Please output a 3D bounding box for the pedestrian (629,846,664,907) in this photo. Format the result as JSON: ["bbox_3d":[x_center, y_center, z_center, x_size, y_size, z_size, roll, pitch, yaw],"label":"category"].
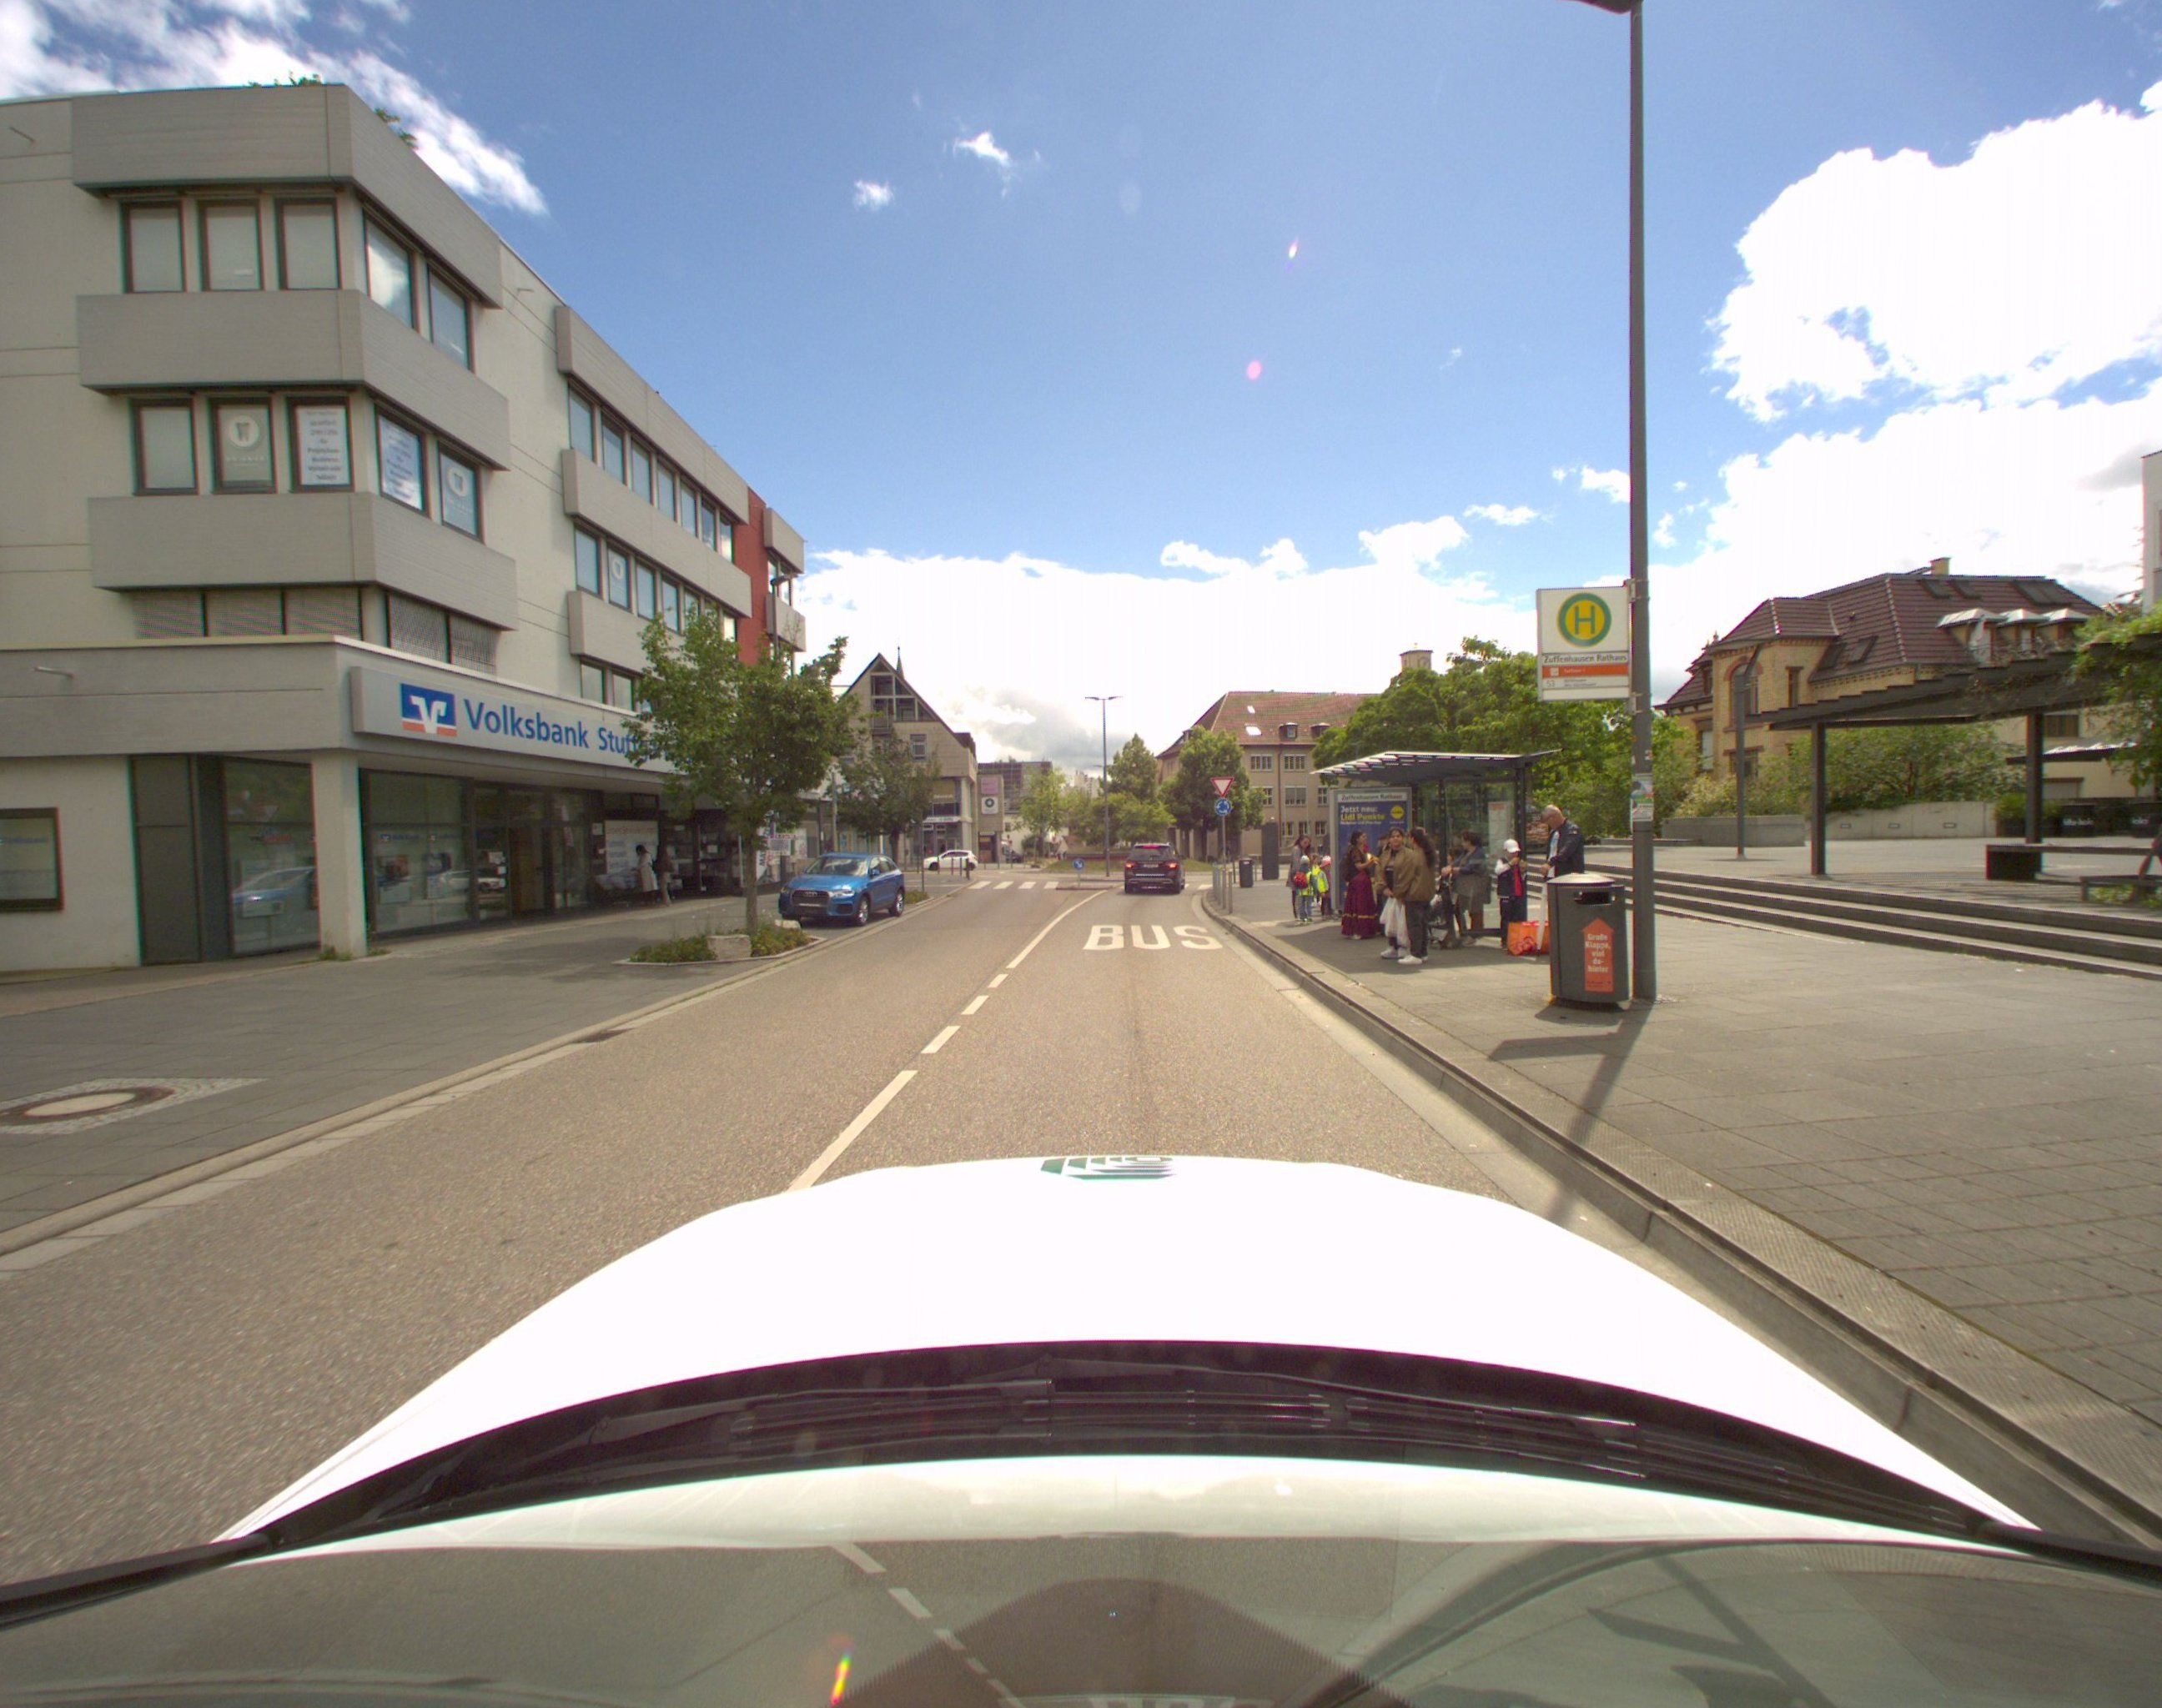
[{"bbox_3d":[-11.533,0.589,21.628,0.508,1.566,0.587,-3,0,2],"label":"pedestrian"}]

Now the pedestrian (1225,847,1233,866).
[{"bbox_3d":[13.027,0.191,71.516,0.567,1.608,0.440,3,5,36],"label":"pedestrian"}]

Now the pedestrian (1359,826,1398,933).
[{"bbox_3d":[4.455,0.381,12.202,0.389,1.566,0.354,-2,0,39],"label":"pedestrian"}]

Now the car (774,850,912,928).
[{"bbox_3d":[-5.474,0.722,19.358,1.687,1.599,4.337,1,0,4],"label":"car"}]

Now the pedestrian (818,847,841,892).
[{"bbox_3d":[-9.016,0.547,29.179,0.584,1.588,0.639,0,0,3],"label":"pedestrian"}]

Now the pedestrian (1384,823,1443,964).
[{"bbox_3d":[3.799,0.434,9.294,0.508,1.549,0.490,-2,0,28],"label":"pedestrian"}]

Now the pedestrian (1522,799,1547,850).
[{"bbox_3d":[13.734,-0.896,24.686,0.500,1.508,0.455,-2,1,7],"label":"pedestrian"}]

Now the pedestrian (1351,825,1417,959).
[{"bbox_3d":[3.659,0.444,9.841,0.489,1.549,0.537,-2,0,-44],"label":"pedestrian"}]

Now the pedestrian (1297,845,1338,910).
[{"bbox_3d":[4.899,0.492,16.860,0.434,1.304,0.593,-3,-1,-32],"label":"pedestrian"}]

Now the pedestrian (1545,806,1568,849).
[{"bbox_3d":[14.501,-0.811,24.842,0.361,1.285,0.642,-2,1,7],"label":"pedestrian"}]

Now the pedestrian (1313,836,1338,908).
[{"bbox_3d":[5.286,0.387,17.648,0.387,1.517,0.391,-3,0,8],"label":"pedestrian"}]

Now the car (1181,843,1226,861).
[{"bbox_3d":[11.525,-0.215,76.625,3.885,1.531,1.647,-3,0,-21],"label":"car"}]

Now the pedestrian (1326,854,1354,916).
[{"bbox_3d":[4.908,0.580,15.460,0.320,1.152,0.318,-3,0,-38],"label":"pedestrian"}]

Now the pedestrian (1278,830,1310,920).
[{"bbox_3d":[3.916,0.379,14.997,0.385,1.619,0.469,-3,0,4],"label":"pedestrian"}]

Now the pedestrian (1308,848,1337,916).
[{"bbox_3d":[4.527,0.515,15.271,0.324,1.238,0.332,-4,0,-18],"label":"pedestrian"}]

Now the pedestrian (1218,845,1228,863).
[{"bbox_3d":[12.551,-0.010,71.976,0.630,1.523,0.581,3,5,36],"label":"pedestrian"}]

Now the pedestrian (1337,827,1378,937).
[{"bbox_3d":[4.050,0.405,11.909,0.492,1.566,0.504,-2,0,19],"label":"pedestrian"}]

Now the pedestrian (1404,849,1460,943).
[{"bbox_3d":[4.748,0.548,11.041,0.376,1.211,0.633,-4,0,-4],"label":"pedestrian"}]

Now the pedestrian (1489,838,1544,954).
[{"bbox_3d":[5.073,0.477,9.500,0.388,1.306,0.355,-4,0,3],"label":"pedestrian"}]

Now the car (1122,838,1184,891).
[{"bbox_3d":[2.551,0.378,29.188,2.018,1.727,4.438,-1,-1,5],"label":"car"}]

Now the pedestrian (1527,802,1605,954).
[{"bbox_3d":[5.572,0.264,9.379,0.509,1.680,0.576,-2,0,2],"label":"pedestrian"}]

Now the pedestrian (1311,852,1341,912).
[{"bbox_3d":[4.890,0.568,16.271,0.337,1.167,0.348,-3,-1,-30],"label":"pedestrian"}]

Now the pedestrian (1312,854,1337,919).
[{"bbox_3d":[4.447,0.583,14.869,0.296,1.152,0.293,-3,0,0],"label":"pedestrian"}]

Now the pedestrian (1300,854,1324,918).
[{"bbox_3d":[4.261,0.586,15.023,0.267,1.160,0.266,-4,0,39],"label":"pedestrian"}]

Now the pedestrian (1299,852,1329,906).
[{"bbox_3d":[5.254,0.562,18.347,0.470,1.172,0.393,-4,0,40],"label":"pedestrian"}]

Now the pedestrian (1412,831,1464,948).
[{"bbox_3d":[4.547,0.444,10.391,0.376,1.442,0.415,-4,0,-4],"label":"pedestrian"}]

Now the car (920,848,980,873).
[{"bbox_3d":[-9.241,0.457,57.254,3.885,1.531,1.647,-3,0,-21],"label":"car"}]

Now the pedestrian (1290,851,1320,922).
[{"bbox_3d":[3.988,0.571,14.489,0.399,1.226,0.390,-2,0,24],"label":"pedestrian"}]

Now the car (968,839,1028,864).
[{"bbox_3d":[-9.209,-0.267,90.561,6.305,2.560,2.191,1,-3,-20],"label":"car"}]

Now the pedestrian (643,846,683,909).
[{"bbox_3d":[-10.751,0.594,20.968,0.579,1.566,0.649,-3,0,32],"label":"pedestrian"}]

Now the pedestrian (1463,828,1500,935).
[{"bbox_3d":[5.584,0.378,11.366,0.276,1.458,0.316,-2,0,-33],"label":"pedestrian"}]

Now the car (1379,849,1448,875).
[{"bbox_3d":[22.848,0.572,56.094,4.221,1.576,1.858,-2,0,17],"label":"car"}]

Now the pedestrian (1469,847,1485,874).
[{"bbox_3d":[22.906,0.373,47.068,0.548,1.514,0.789,-2,2,4],"label":"pedestrian"}]
